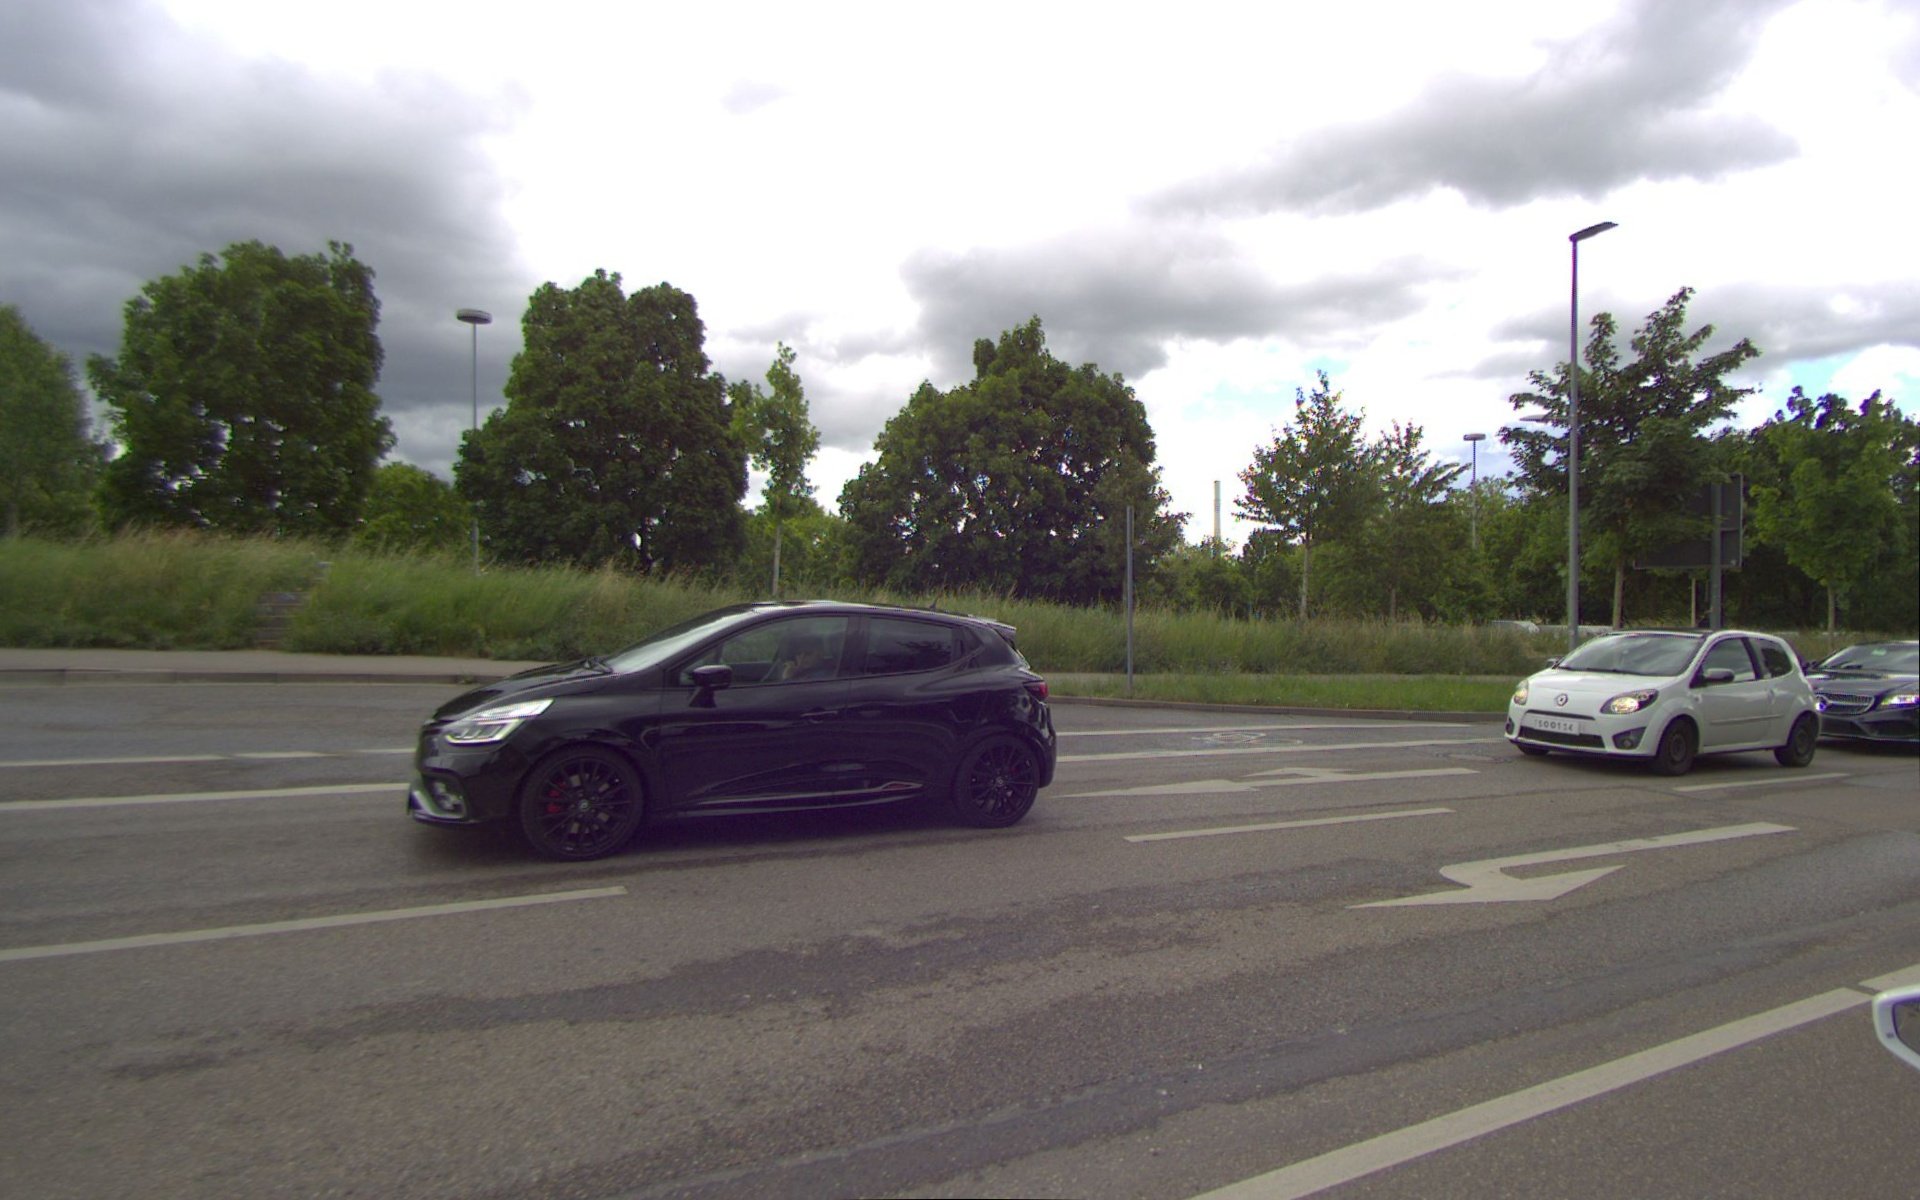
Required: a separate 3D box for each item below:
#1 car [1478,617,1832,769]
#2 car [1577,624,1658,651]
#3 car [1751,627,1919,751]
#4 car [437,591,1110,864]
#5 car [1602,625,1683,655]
[{"bbox_3d":[7.672,0.929,11.062,3.713,1.409,1.634,1,0,-27],"label":"car"},{"bbox_3d":[51.332,2.907,78.498,1.975,2.040,4.947,2,-1,-28],"label":"car"},{"bbox_3d":[12.914,1.109,13.550,4.821,1.409,1.634,1,0,-27],"label":"car"},{"bbox_3d":[-1.142,0.674,6.612,4.007,1.350,1.634,1,0,-27],"label":"car"},{"bbox_3d":[54.265,3.179,79.966,1.976,2.219,4.944,2,-1,-29],"label":"car"}]
